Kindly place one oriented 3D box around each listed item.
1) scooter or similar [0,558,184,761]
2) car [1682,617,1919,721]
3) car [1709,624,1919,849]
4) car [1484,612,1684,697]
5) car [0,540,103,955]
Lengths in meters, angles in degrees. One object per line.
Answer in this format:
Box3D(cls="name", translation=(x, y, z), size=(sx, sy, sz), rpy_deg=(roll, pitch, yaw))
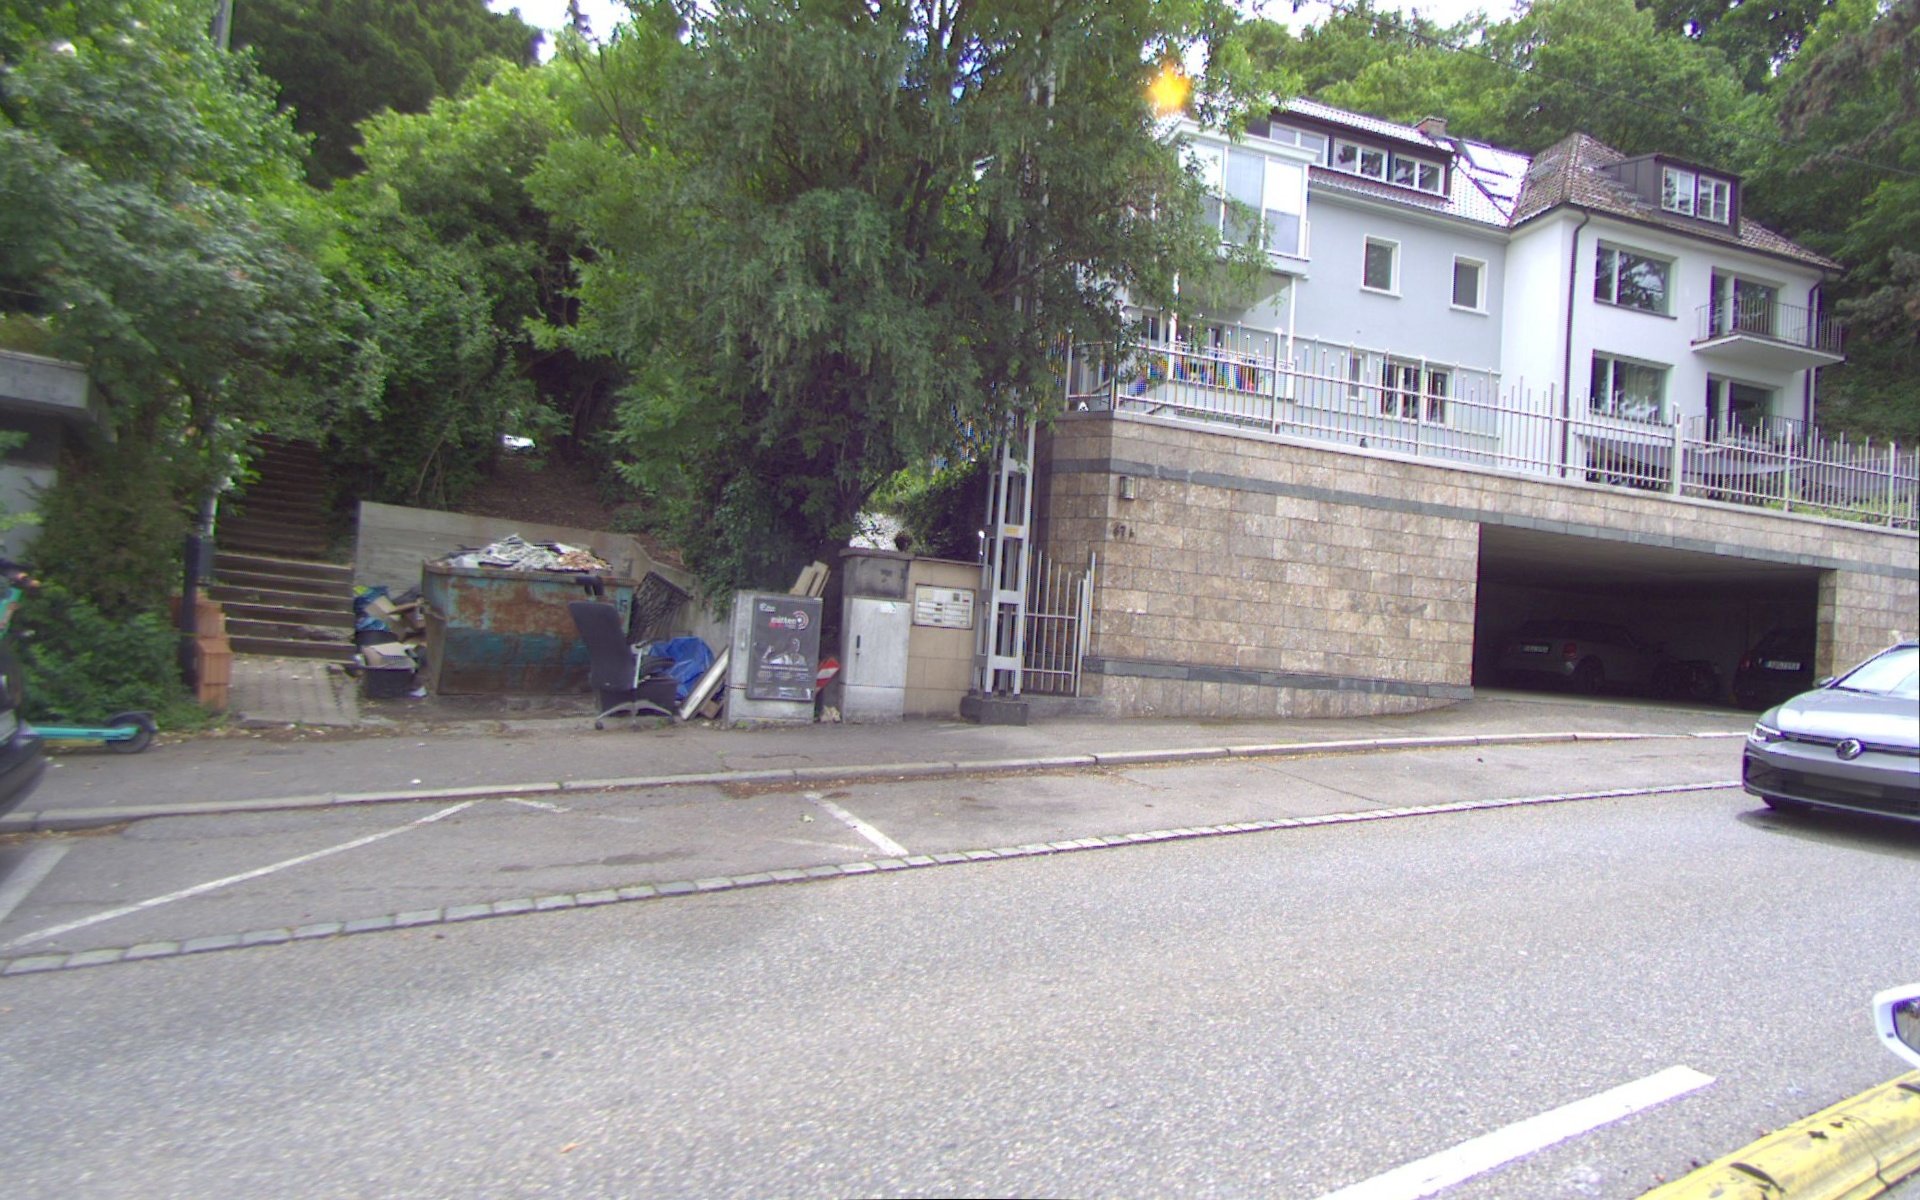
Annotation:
Box3D(cls="scooter or similar", translation=(-5.800, 0.378, 6.533), size=(1.108, 1.248, 0.414), rpy_deg=(2, 2, -29))
Box3D(cls="car", translation=(14.470, 1.154, 16.988), size=(3.644, 1.472, 1.781), rpy_deg=(4, 0, -17))
Box3D(cls="car", translation=(8.158, 0.978, 7.857), size=(4.247, 1.454, 1.764), rpy_deg=(2, 0, -23))
Box3D(cls="car", translation=(12.528, 1.099, 20.175), size=(3.499, 1.438, 1.764), rpy_deg=(4, 0, -26))
Box3D(cls="car", translation=(-5.839, 0.438, 3.081), size=(4.632, 1.471, 1.726), rpy_deg=(2, 3, -33))
